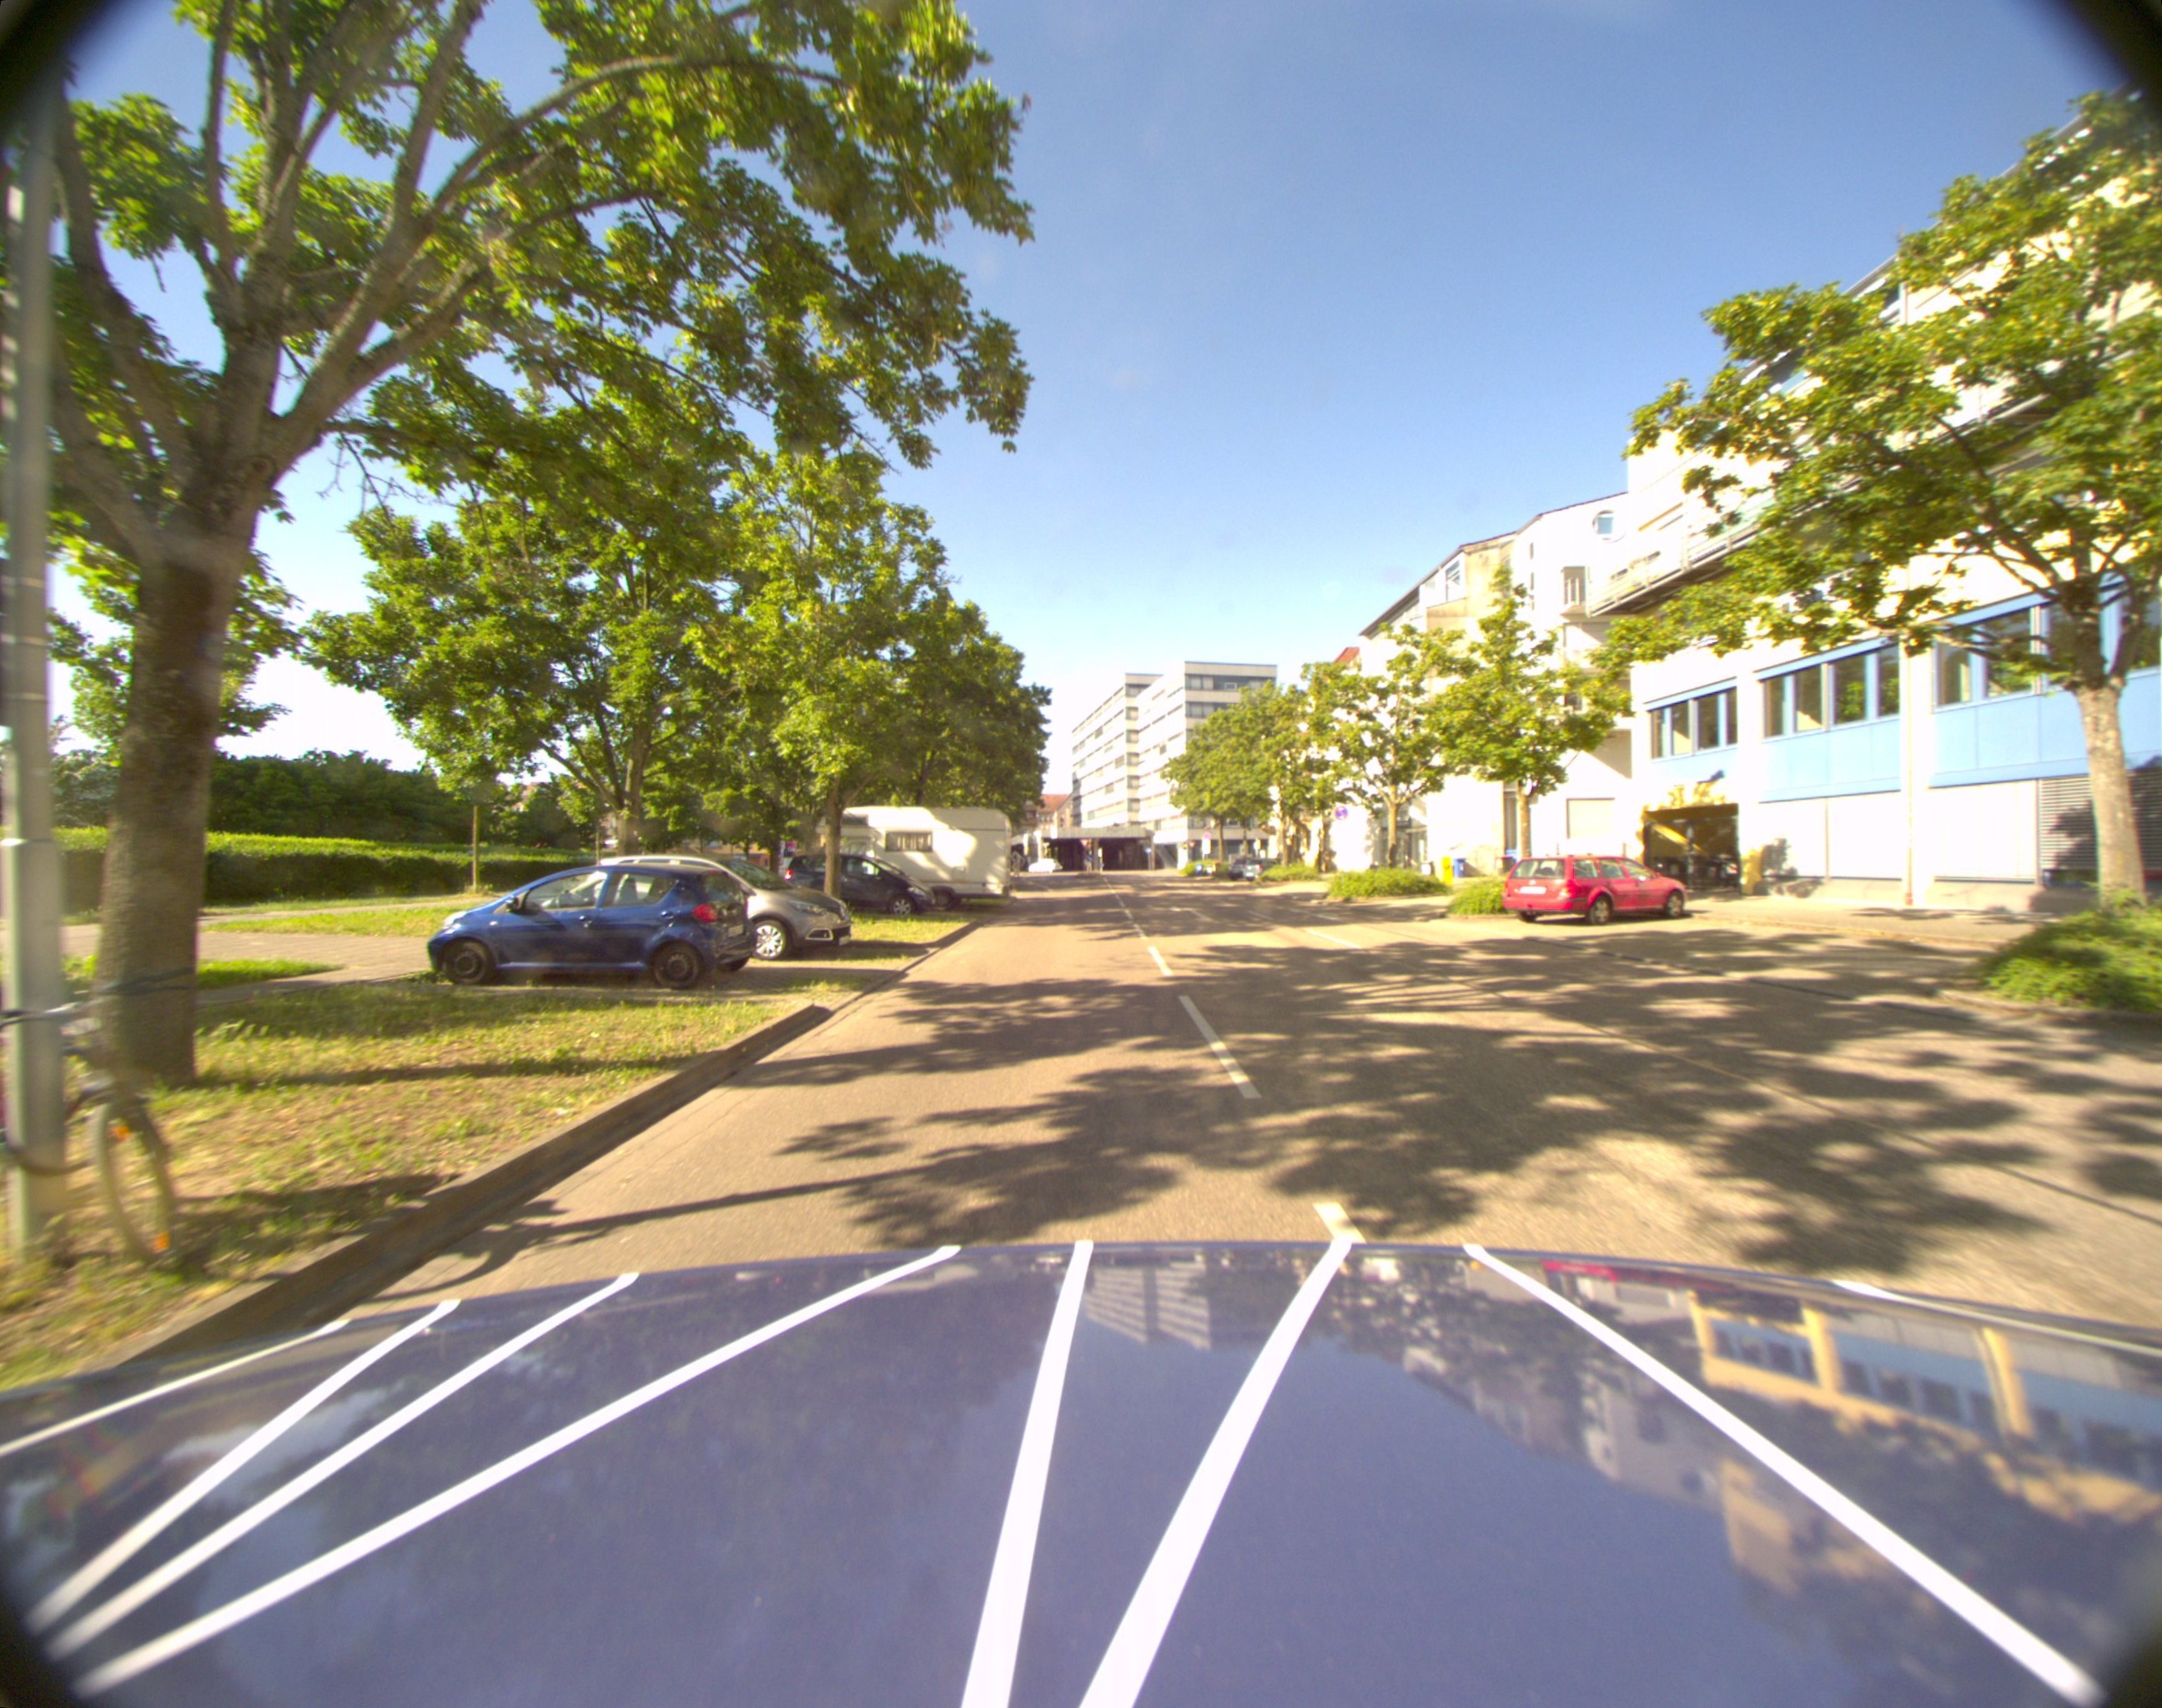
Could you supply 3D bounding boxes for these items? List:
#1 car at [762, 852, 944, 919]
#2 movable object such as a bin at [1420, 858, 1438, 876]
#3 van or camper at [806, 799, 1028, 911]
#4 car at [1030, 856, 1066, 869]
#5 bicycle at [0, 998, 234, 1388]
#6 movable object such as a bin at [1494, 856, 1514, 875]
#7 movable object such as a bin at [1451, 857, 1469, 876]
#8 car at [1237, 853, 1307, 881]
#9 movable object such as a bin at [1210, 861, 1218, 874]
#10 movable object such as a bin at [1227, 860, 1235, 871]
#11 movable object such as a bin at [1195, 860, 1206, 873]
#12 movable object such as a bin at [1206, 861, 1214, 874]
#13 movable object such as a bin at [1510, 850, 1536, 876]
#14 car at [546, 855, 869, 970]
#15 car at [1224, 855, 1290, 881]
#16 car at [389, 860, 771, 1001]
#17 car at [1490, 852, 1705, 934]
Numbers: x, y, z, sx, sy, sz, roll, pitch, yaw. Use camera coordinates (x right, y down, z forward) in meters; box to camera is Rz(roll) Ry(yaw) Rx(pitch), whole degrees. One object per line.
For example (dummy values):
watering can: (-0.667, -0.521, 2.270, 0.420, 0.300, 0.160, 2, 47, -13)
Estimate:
car: (-5.848, 0.787, 19.869, 4.160, 1.537, 1.859, 2, 0, -2)
movable object such as a bin: (17.757, 0.646, 38.799, 0.622, 0.922, 0.575, -1, 0, -4)
van or camper: (-4.730, 0.027, 22.806, 5.997, 2.966, 2.670, 2, 0, -1)
car: (-3.953, 1.014, 90.631, 3.746, 1.443, 1.933, 0, 0, 29)
bicycle: (-3.983, 1.068, 2.678, 1.753, 0.985, 0.530, 1, 1, 12)
movable object such as a bin: (21.554, 0.597, 38.686, 0.622, 0.967, 0.690, -1, 0, -4)
movable object such as a bin: (19.365, 0.641, 38.860, 0.622, 0.967, 0.575, -1, 1, -4)
car: (11.536, 0.766, 45.901, 4.006, 1.455, 1.807, -3, 1, -33)
movable object such as a bin: (10.728, 1.078, 61.200, 0.476, 1.034, 0.543, -2, 1, 25)
movable object such as a bin: (12.146, 0.929, 61.603, 0.476, 0.938, 0.543, 0, 1, 25)
movable object such as a bin: (9.585, 1.003, 60.740, 0.674, 1.067, 0.804, 0, 1, 25)
movable object such as a bin: (10.254, 1.055, 60.365, 0.476, 0.954, 0.543, -2, 1, 26)
movable object such as a bin: (22.433, 0.449, 38.608, 0.622, 1.272, 1.120, -1, 0, -4)
car: (-5.784, 0.859, 12.152, 4.203, 1.537, 1.859, 2, 0, 2)
car: (11.332, 0.858, 48.803, 4.006, 1.455, 1.807, -3, 1, -33)
car: (-5.997, 0.876, 9.475, 3.471, 1.470, 1.858, 2, 0, -3)
car: (11.073, 0.772, 16.287, 4.239, 1.467, 1.767, -2, 0, -23)
